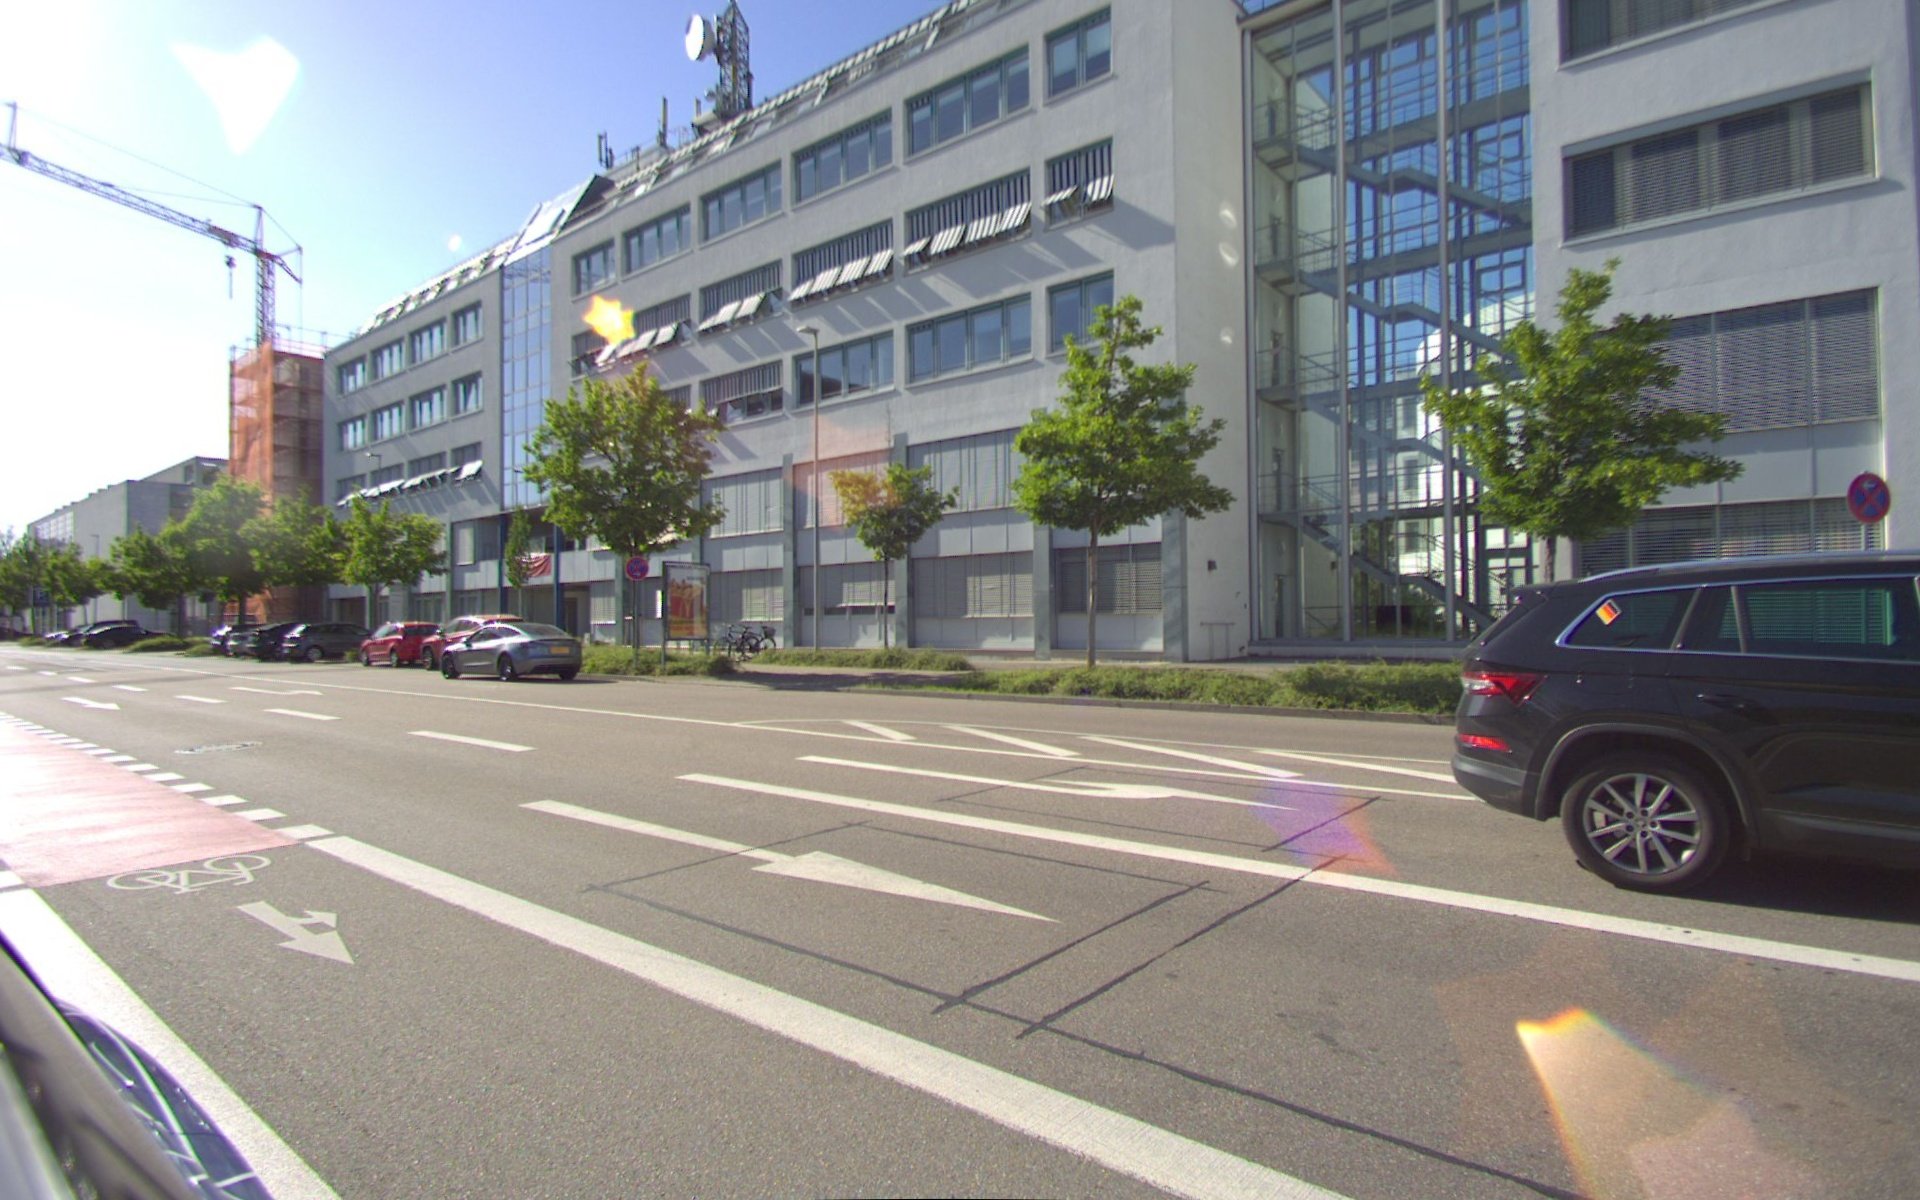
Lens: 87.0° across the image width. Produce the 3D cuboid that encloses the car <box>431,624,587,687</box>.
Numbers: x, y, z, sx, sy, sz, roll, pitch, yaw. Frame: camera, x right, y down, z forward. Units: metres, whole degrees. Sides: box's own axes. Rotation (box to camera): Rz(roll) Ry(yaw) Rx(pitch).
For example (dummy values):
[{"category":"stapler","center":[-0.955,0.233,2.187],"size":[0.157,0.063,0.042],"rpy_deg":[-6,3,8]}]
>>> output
[{"category":"car","center":[-11.574,1.365,25.846],"size":[4.539,1.479,1.672],"rpy_deg":[-2,-2,37]}]

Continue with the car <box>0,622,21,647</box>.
[{"category":"car","center":[-99.629,3.589,103.135],"size":[2.010,2.501,5.510],"rpy_deg":[-2,0,42]}]

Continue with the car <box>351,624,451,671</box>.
[{"category":"car","center":[-18.905,1.571,34.154],"size":[3.869,1.442,1.671],"rpy_deg":[-2,0,40]}]

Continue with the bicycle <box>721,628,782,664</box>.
[{"category":"bicycle","center":[-6.443,1.419,31.290],"size":[1.767,1.077,0.622],"rpy_deg":[2,-3,-43]}]

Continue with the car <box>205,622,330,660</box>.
[{"category":"car","center":[-31.337,1.842,45.897],"size":[1.691,1.442,4.343],"rpy_deg":[-2,0,38]}]

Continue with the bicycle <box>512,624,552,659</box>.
[{"category":"bicycle","center":[-17.007,1.635,40.178],"size":[0.701,1.357,2.234],"rpy_deg":[2,-3,-44]}]

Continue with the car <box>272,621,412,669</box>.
[{"category":"car","center":[-24.102,1.720,39.619],"size":[1.690,1.549,4.347],"rpy_deg":[-2,0,35]}]

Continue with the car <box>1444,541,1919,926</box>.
[{"category":"car","center":[4.912,0.537,4.731],"size":[4.474,1.640,1.736],"rpy_deg":[-2,0,39]}]

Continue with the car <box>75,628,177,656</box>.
[{"category":"car","center":[-50.067,2.505,60.820],"size":[1.974,1.442,4.346],"rpy_deg":[-2,0,36]}]

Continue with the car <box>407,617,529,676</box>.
[{"category":"car","center":[-15.121,1.391,31.018],"size":[4.305,1.619,1.672],"rpy_deg":[-2,0,39]}]

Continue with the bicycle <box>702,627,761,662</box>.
[{"category":"bicycle","center":[-7.146,1.391,31.656],"size":[1.746,1.077,0.556],"rpy_deg":[2,-3,-43]}]

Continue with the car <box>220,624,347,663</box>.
[{"category":"car","center":[-29.684,1.881,44.521],"size":[1.691,1.442,4.344],"rpy_deg":[-2,0,38]}]

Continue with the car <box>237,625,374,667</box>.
[{"category":"car","center":[-26.646,1.837,41.322],"size":[1.691,1.442,4.345],"rpy_deg":[-2,0,37]}]
